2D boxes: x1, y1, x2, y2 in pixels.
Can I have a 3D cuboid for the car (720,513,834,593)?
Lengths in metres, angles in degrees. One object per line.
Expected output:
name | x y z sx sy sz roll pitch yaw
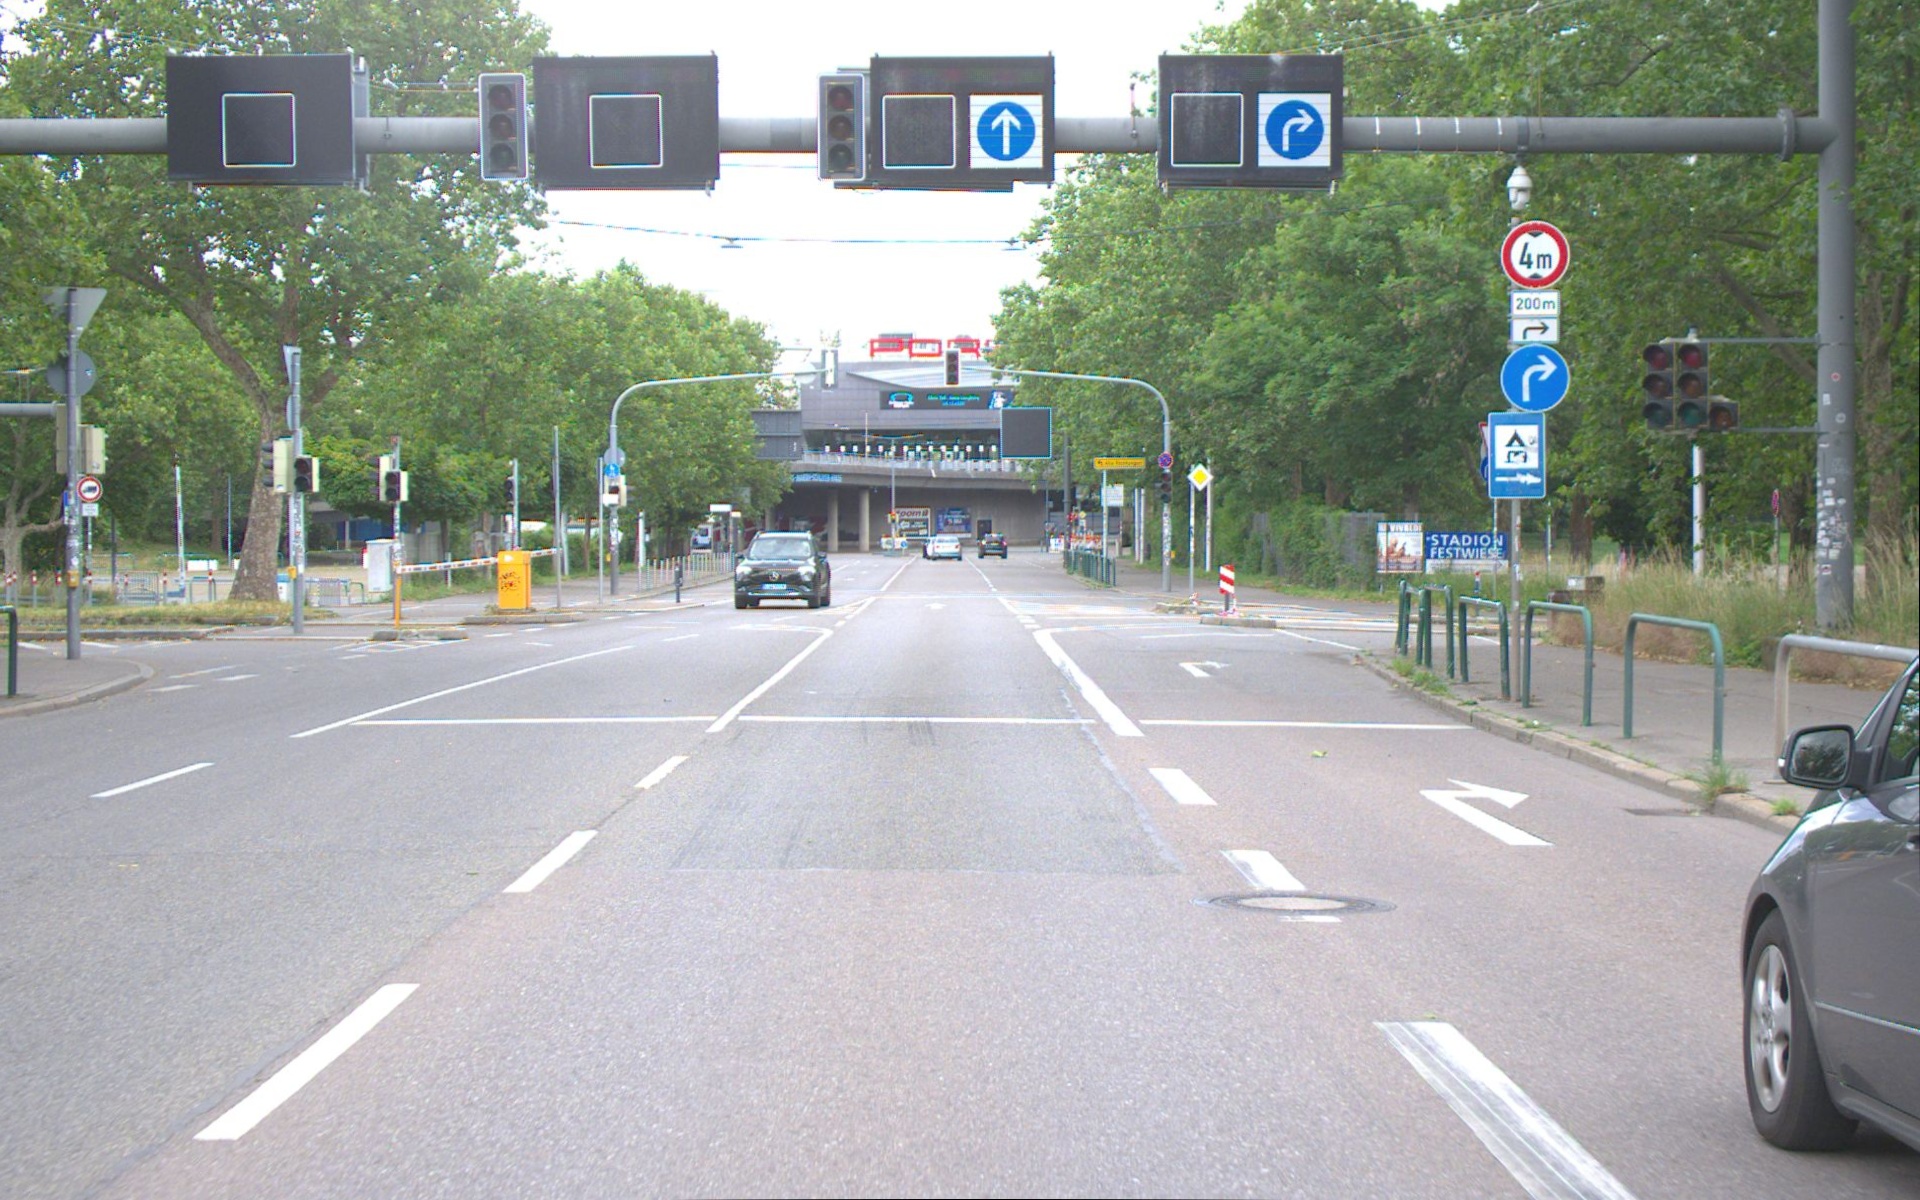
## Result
car | -3.980 -1.036 75.445 1.994 1.654 4.517 -1 1 3

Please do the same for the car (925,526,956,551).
car | -1.163 -3.791 211.591 1.778 1.455 3.822 2 1 1

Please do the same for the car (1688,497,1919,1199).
car | 2.881 0.602 7.219 1.826 1.610 4.034 1 2 0

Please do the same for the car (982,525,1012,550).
car | 2.533 -4.290 235.299 2.007 1.693 4.069 1 1 1

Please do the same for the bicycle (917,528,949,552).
bicycle | -1.722 -3.848 220.800 1.993 1.503 4.000 0 1 -1
